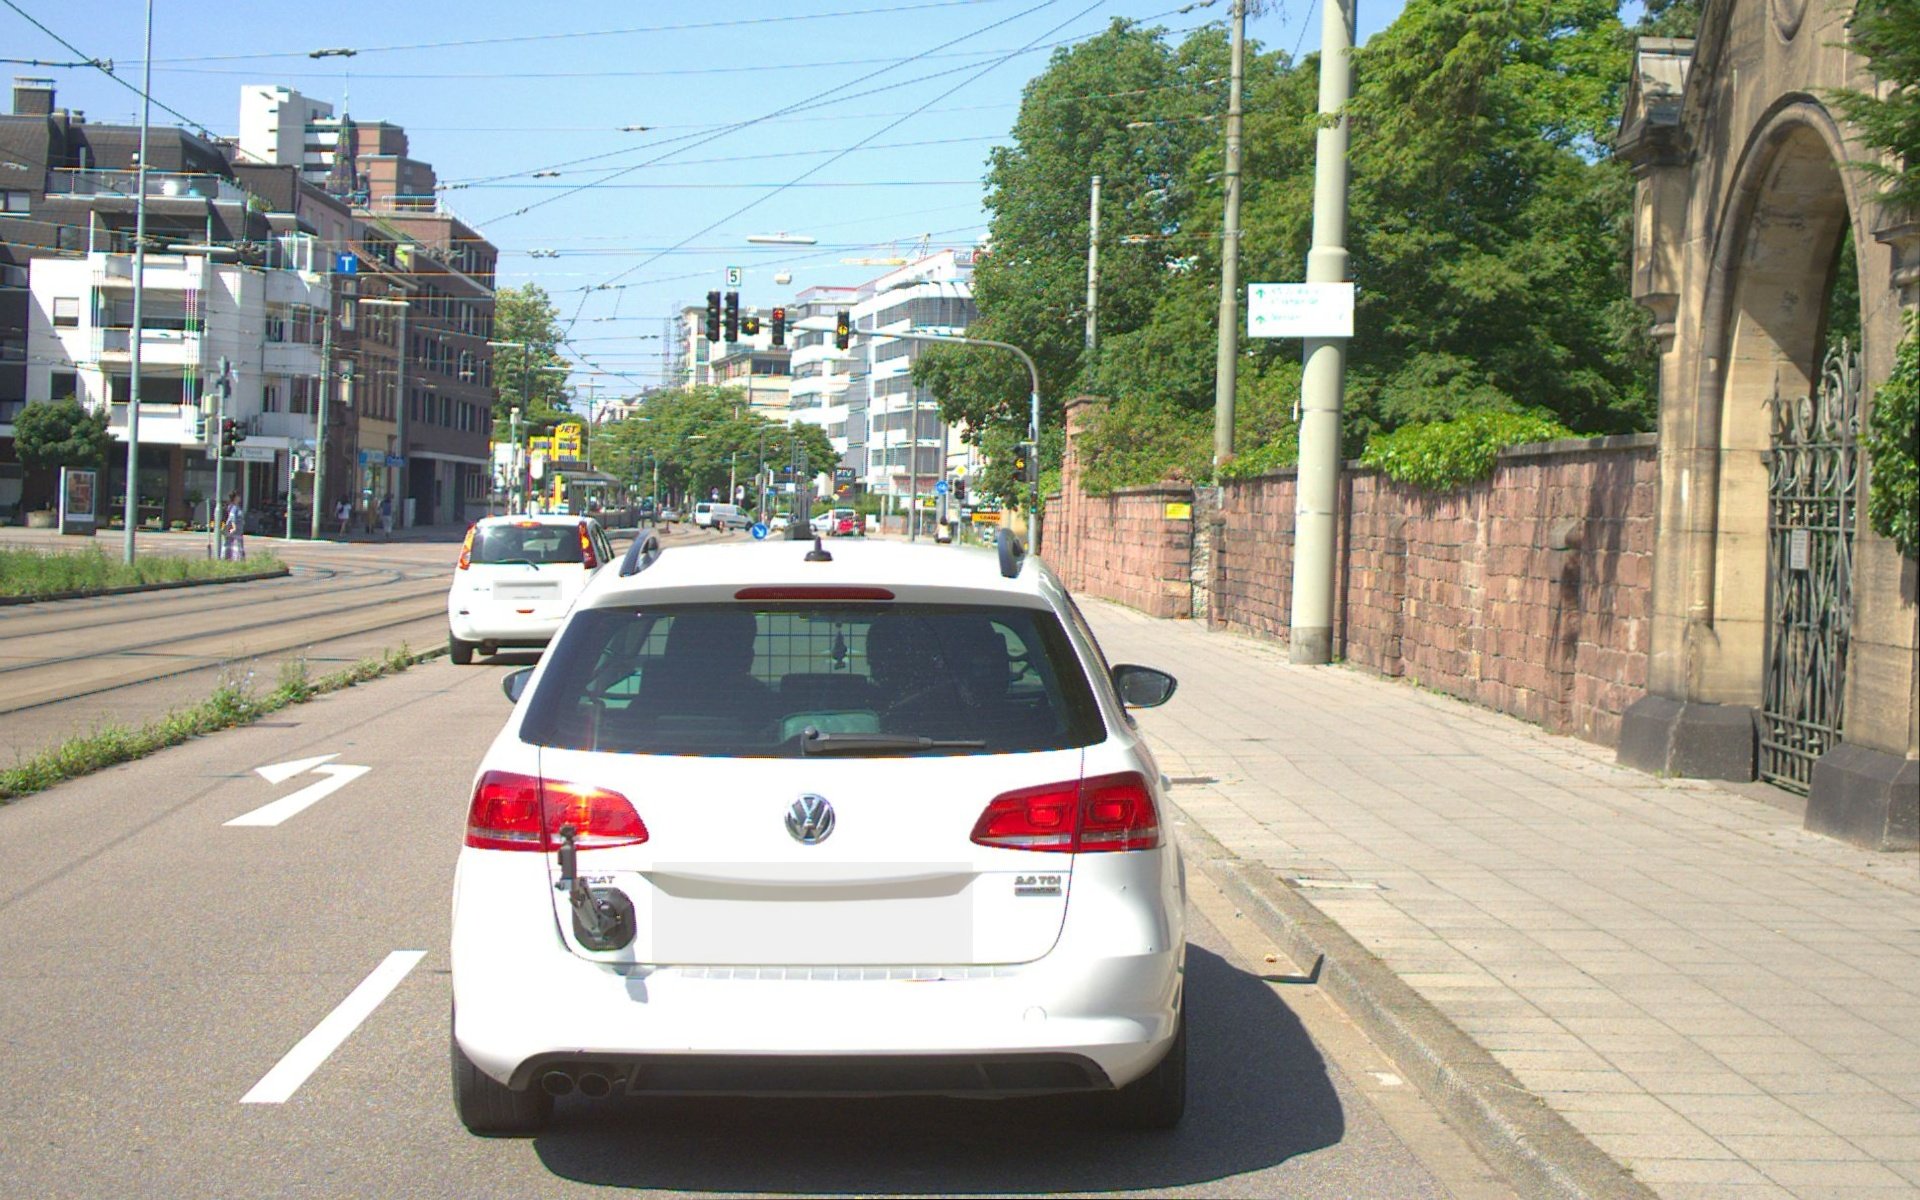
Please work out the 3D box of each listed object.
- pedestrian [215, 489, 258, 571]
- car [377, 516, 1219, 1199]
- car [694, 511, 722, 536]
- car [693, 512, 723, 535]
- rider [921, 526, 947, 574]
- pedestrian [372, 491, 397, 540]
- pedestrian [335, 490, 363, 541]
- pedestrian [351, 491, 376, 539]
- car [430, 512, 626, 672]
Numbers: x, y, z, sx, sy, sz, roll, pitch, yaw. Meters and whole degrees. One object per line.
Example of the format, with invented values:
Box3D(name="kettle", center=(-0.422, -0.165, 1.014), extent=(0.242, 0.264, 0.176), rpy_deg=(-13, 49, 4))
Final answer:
Box3D(name="pedestrian", center=(-15.677, -1.522, 74.491), extent=(0.826, 1.733, 0.932), rpy_deg=(1, 1, -9))
Box3D(name="car", center=(-0.374, 0.526, 9.219), extent=(1.778, 1.485, 3.847), rpy_deg=(0, 1, -1))
Box3D(name="car", center=(-16.463, -5.030, 225.036), extent=(1.698, 1.585, 3.535), rpy_deg=(1, 1, -3))
Box3D(name="car", center=(-18.495, -5.601, 252.335), extent=(1.698, 1.585, 3.536), rpy_deg=(2, 1, -12))
Box3D(name="rider", center=(-0.978, -1.857, 127.509), extent=(0.891, 1.722, 2.204), rpy_deg=(2, 1, -1))
Box3D(name="pedestrian", center=(-23.971, -3.522, 143.126), extent=(0.936, 2.007, 0.991), rpy_deg=(2, 1, -7))
Box3D(name="pedestrian", center=(-24.509, -3.379, 137.924), extent=(0.936, 2.007, 0.991), rpy_deg=(2, 1, -5))
Box3D(name="pedestrian", center=(-25.606, -3.655, 147.642), extent=(0.936, 2.007, 0.991), rpy_deg=(2, 1, -6))
Box3D(name="car", center=(-4.584, -0.127, 36.919), extent=(1.730, 1.590, 4.011), rpy_deg=(1, 1, -2))
